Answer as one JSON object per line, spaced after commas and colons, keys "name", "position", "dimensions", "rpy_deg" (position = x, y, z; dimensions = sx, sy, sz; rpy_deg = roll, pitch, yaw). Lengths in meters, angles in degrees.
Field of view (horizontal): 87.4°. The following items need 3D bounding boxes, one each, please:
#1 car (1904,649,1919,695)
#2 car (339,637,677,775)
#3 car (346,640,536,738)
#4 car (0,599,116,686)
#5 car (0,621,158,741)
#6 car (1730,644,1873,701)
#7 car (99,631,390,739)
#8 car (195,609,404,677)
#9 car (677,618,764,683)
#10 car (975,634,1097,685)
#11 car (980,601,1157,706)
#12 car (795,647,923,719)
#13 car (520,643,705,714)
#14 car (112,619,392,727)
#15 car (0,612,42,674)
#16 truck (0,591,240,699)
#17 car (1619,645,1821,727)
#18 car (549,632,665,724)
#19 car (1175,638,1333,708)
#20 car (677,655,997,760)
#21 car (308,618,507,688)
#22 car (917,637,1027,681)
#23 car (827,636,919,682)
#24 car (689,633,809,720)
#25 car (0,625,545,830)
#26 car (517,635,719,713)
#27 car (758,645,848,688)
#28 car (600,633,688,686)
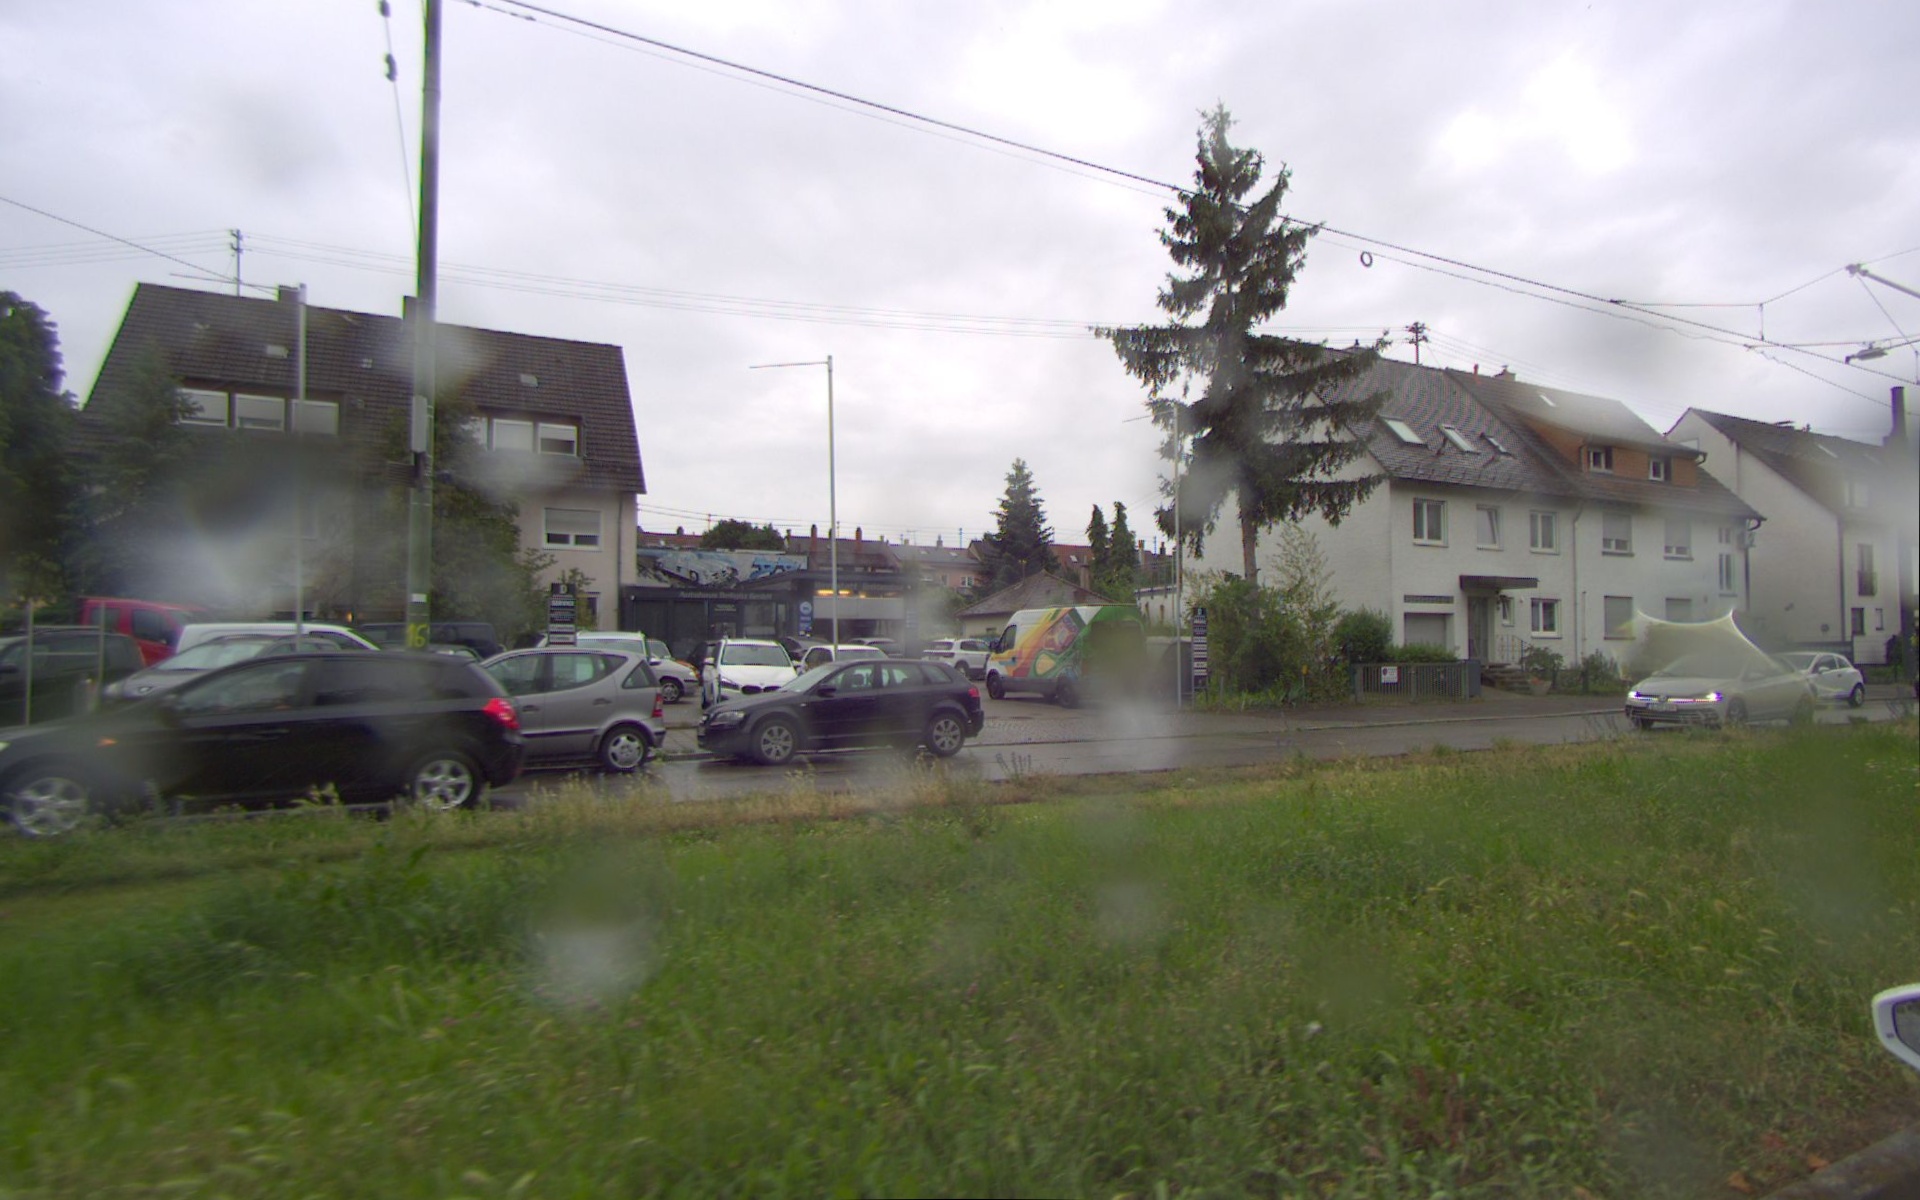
{"name": "car", "position": [32.482, 2.375, 32.310], "dimensions": [4.607, 1.442, 1.595], "rpy_deg": [4, -4, -27]}
{"name": "car", "position": [-5.601, 1.304, 12.712], "dimensions": [3.596, 1.524, 1.712], "rpy_deg": [3, -4, -26]}
{"name": "car", "position": [-9.148, 1.545, 18.120], "dimensions": [1.800, 1.524, 4.053], "rpy_deg": [2, -4, -9]}
{"name": "car", "position": [-19.207, 0.849, 19.429], "dimensions": [3.905, 1.618, 1.999], "rpy_deg": [0, -3, -7]}
{"name": "car", "position": [-14.950, 1.223, 15.328], "dimensions": [1.960, 1.739, 4.003], "rpy_deg": [-1, -3, 6]}
{"name": "car", "position": [22.952, 1.982, 27.398], "dimensions": [3.893, 1.442, 1.595], "rpy_deg": [4, -4, -27]}
{"name": "car", "position": [-11.656, 1.370, 16.780], "dimensions": [1.797, 1.524, 4.061], "rpy_deg": [2, -3, 2]}
{"name": "car", "position": [-17.579, 1.155, 27.036], "dimensions": [4.386, 1.709, 1.988], "rpy_deg": [1, -3, -25]}
{"name": "car", "position": [-7.963, 1.630, 33.134], "dimensions": [1.974, 1.803, 3.582], "rpy_deg": [3, 0, -26]}
{"name": "car", "position": [2.620, 1.981, 33.806], "dimensions": [1.838, 1.601, 4.377], "rpy_deg": [-3, -4, 41]}
{"name": "car", "position": [2.675, 1.407, 26.157], "dimensions": [2.125, 2.437, 5.114], "rpy_deg": [3, -4, -27]}
{"name": "car", "position": [-2.299, 1.768, 21.985], "dimensions": [1.699, 1.414, 3.821], "rpy_deg": [3, -4, -23]}
{"name": "car", "position": [-9.065, 2.006, 26.217], "dimensions": [4.386, 1.709, 1.988], "rpy_deg": [1, -3, -25]}
{"name": "car", "position": [-14.400, 1.466, 20.814], "dimensions": [4.386, 2.040, 1.988], "rpy_deg": [1, -3, -25]}
{"name": "car", "position": [-42.640, 1.867, 44.285], "dimensions": [2.134, 2.606, 4.102], "rpy_deg": [3, -4, -29]}
{"name": "truck", "position": [-20.084, 1.021, 22.609], "dimensions": [5.990, 2.301, 1.998], "rpy_deg": [0, -3, -8]}
{"name": "car", "position": [14.646, 1.654, 19.343], "dimensions": [3.771, 1.442, 1.596], "rpy_deg": [3, -4, -26]}
{"name": "car", "position": [-7.037, 1.463, 19.801], "dimensions": [1.783, 1.599, 3.848], "rpy_deg": [0, -2, -25]}
{"name": "car", "position": [8.056, 1.943, 27.521], "dimensions": [3.845, 1.585, 1.986], "rpy_deg": [-2, -1, -28]}
{"name": "car", "position": [-1.775, 1.553, 14.720], "dimensions": [4.329, 1.356, 1.713], "rpy_deg": [3, -4, -25]}
{"name": "car", "position": [-14.231, 1.369, 26.225], "dimensions": [4.386, 1.709, 1.988], "rpy_deg": [1, -3, -25]}
{"name": "car", "position": [0.509, 2.250, 38.521], "dimensions": [1.768, 1.601, 4.425], "rpy_deg": [-3, -4, 41]}
{"name": "car", "position": [-3.165, 2.113, 35.964], "dimensions": [1.766, 1.517, 3.970], "rpy_deg": [4, -4, -29]}
{"name": "car", "position": [-4.427, 1.546, 20.710], "dimensions": [1.699, 1.593, 3.598], "rpy_deg": [3, -4, -23]}
{"name": "car", "position": [-5.897, 1.068, 8.925], "dimensions": [3.947, 1.505, 1.731], "rpy_deg": [3, -4, -26]}
{"name": "car", "position": [-8.094, 1.709, 23.810], "dimensions": [4.386, 1.709, 1.750], "rpy_deg": [1, -3, -25]}
{"name": "car", "position": [-5.434, 2.247, 34.432], "dimensions": [1.739, 1.349, 3.969], "rpy_deg": [4, -4, -29]}
{"name": "car", "position": [-10.157, 1.873, 32.135], "dimensions": [1.976, 1.585, 3.867], "rpy_deg": [3, -3, -28]}
